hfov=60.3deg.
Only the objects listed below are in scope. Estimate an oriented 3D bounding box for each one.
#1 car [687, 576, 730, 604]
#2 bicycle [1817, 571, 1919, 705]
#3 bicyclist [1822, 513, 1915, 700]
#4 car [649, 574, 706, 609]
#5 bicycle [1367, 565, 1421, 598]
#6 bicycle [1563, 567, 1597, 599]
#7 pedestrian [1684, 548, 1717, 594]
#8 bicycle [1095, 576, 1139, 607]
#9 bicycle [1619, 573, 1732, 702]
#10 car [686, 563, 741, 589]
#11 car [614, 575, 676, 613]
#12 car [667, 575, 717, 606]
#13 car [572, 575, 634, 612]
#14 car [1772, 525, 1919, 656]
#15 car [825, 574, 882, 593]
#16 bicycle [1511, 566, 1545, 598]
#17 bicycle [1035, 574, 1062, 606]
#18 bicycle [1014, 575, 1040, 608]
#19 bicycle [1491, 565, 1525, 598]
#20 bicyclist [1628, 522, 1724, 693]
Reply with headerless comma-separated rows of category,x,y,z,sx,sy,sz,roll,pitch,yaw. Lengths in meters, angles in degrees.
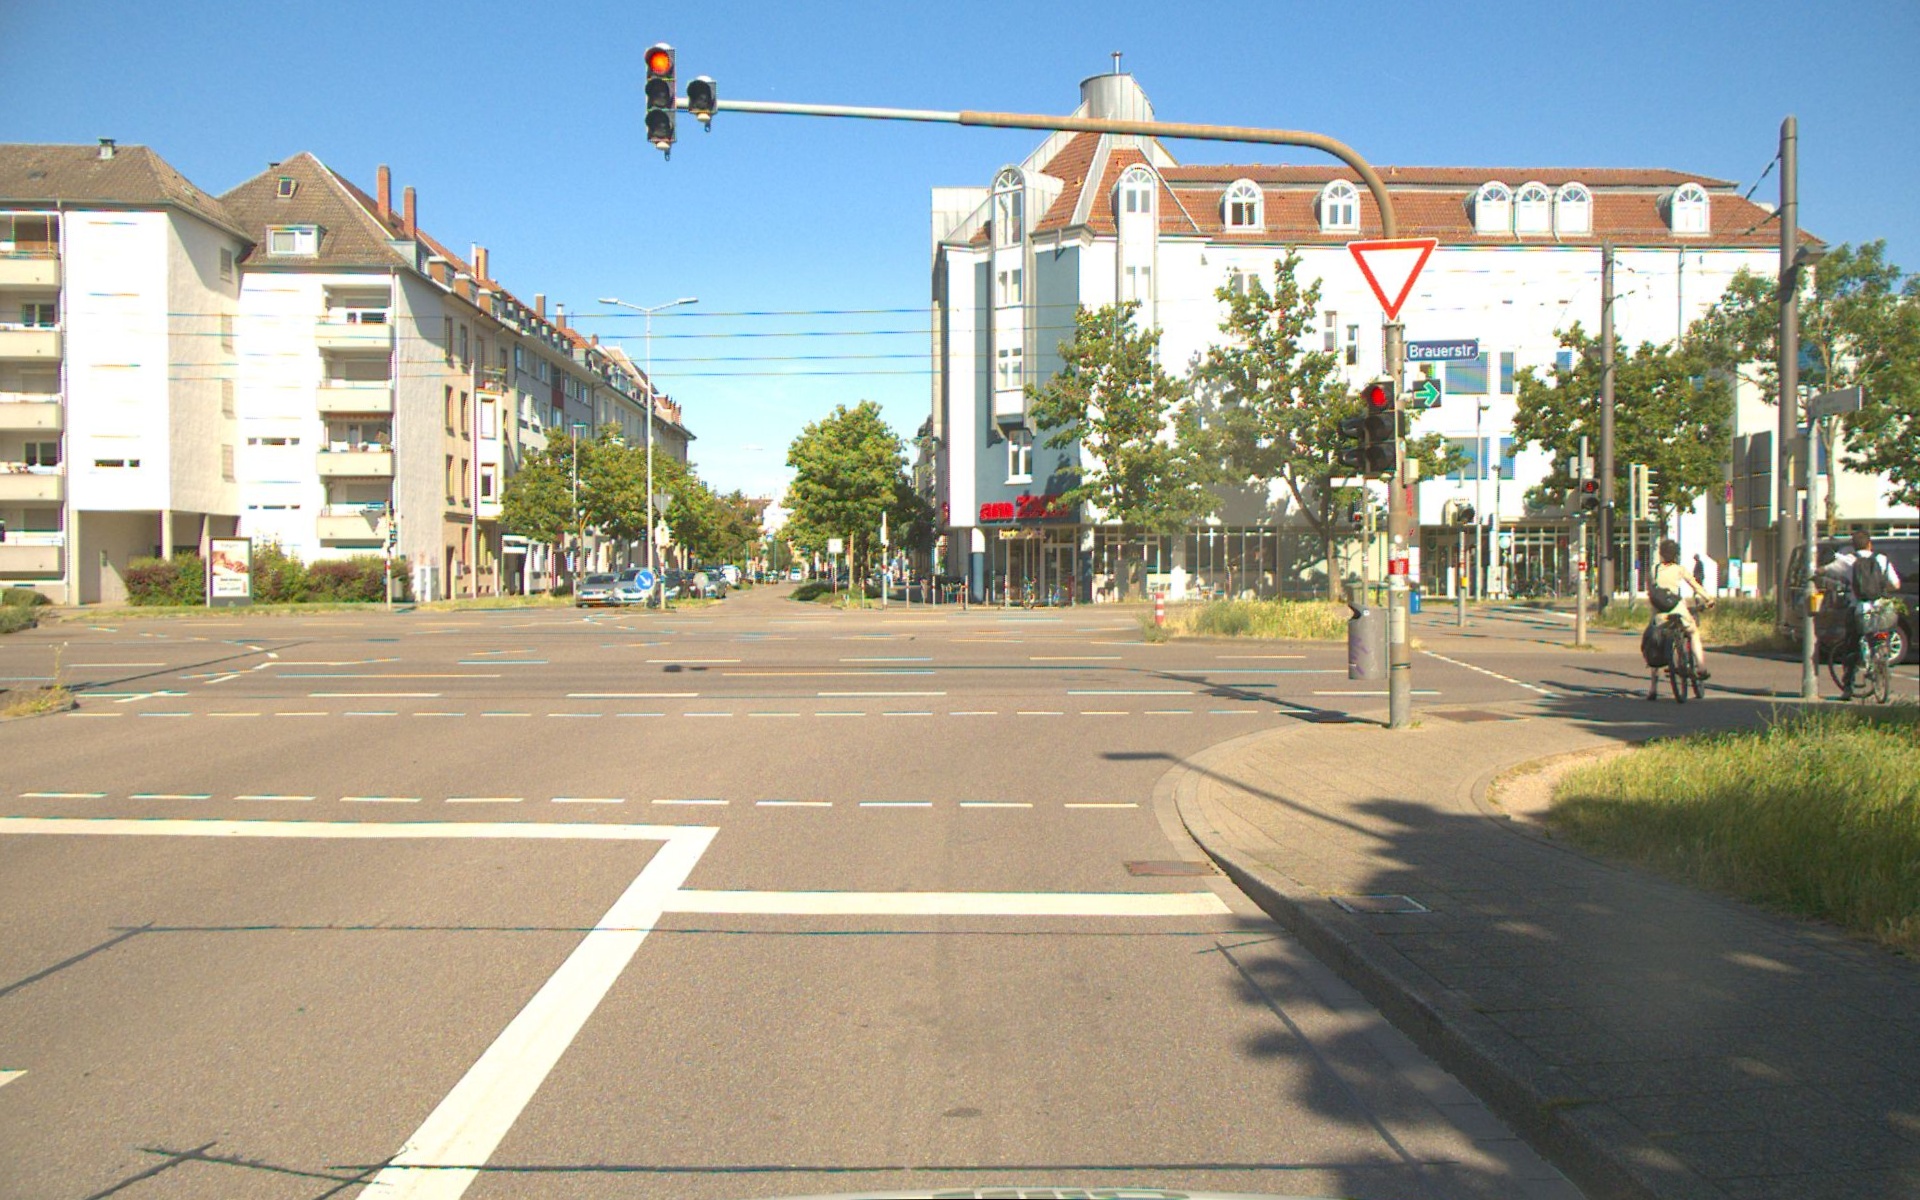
car,-13.735,-0.548,90.513,1.653,1.457,4.400,2,1,0
bicycle,10.118,0.380,18.358,0.777,1.371,2.255,0,1,35
bicyclist,10.006,0.061,18.209,0.777,1.993,1.007,0,1,35
car,-12.779,-0.387,74.939,1.653,1.457,4.401,2,1,2
bicycle,16.075,-0.699,61.282,1.828,1.203,0.561,-1,1,-7
bicycle,23.470,-0.660,62.667,0.549,1.203,1.869,-1,1,-1
pedestrian,28.249,-1.112,63.102,0.970,1.753,0.654,-1,1,-4
bicycle,5.377,-0.293,56.639,1.479,1.045,0.473,-1,1,8
bicycle,8.145,0.390,18.782,0.777,1.371,2.072,0,1,35
car,-20.469,-1.990,137.432,4.417,2.049,1.998,0,0,-5
car,-12.976,-0.273,68.403,1.653,1.457,4.400,2,1,0
car,-13.102,-0.472,81.068,1.653,1.457,4.400,2,1,0
car,-15.385,-0.296,71.421,1.653,1.457,4.400,2,1,0
car,14.686,-0.086,24.496,4.390,1.832,1.765,2,0,1
car,-6.922,-1.063,107.121,3.503,1.244,1.727,0,0,-11
bicycle,21.619,-0.681,63.004,0.549,1.203,1.868,-1,1,-4
bicycle,2.924,-0.340,54.792,0.463,1.045,1.510,-1,1,-14
bicycle,2.187,-0.279,54.241,0.463,1.045,1.511,-1,1,-13
bicycle,20.750,-0.701,62.657,0.549,1.203,1.868,-1,1,-4
bicyclist,8.109,0.070,18.708,0.777,1.856,1.131,0,1,35
